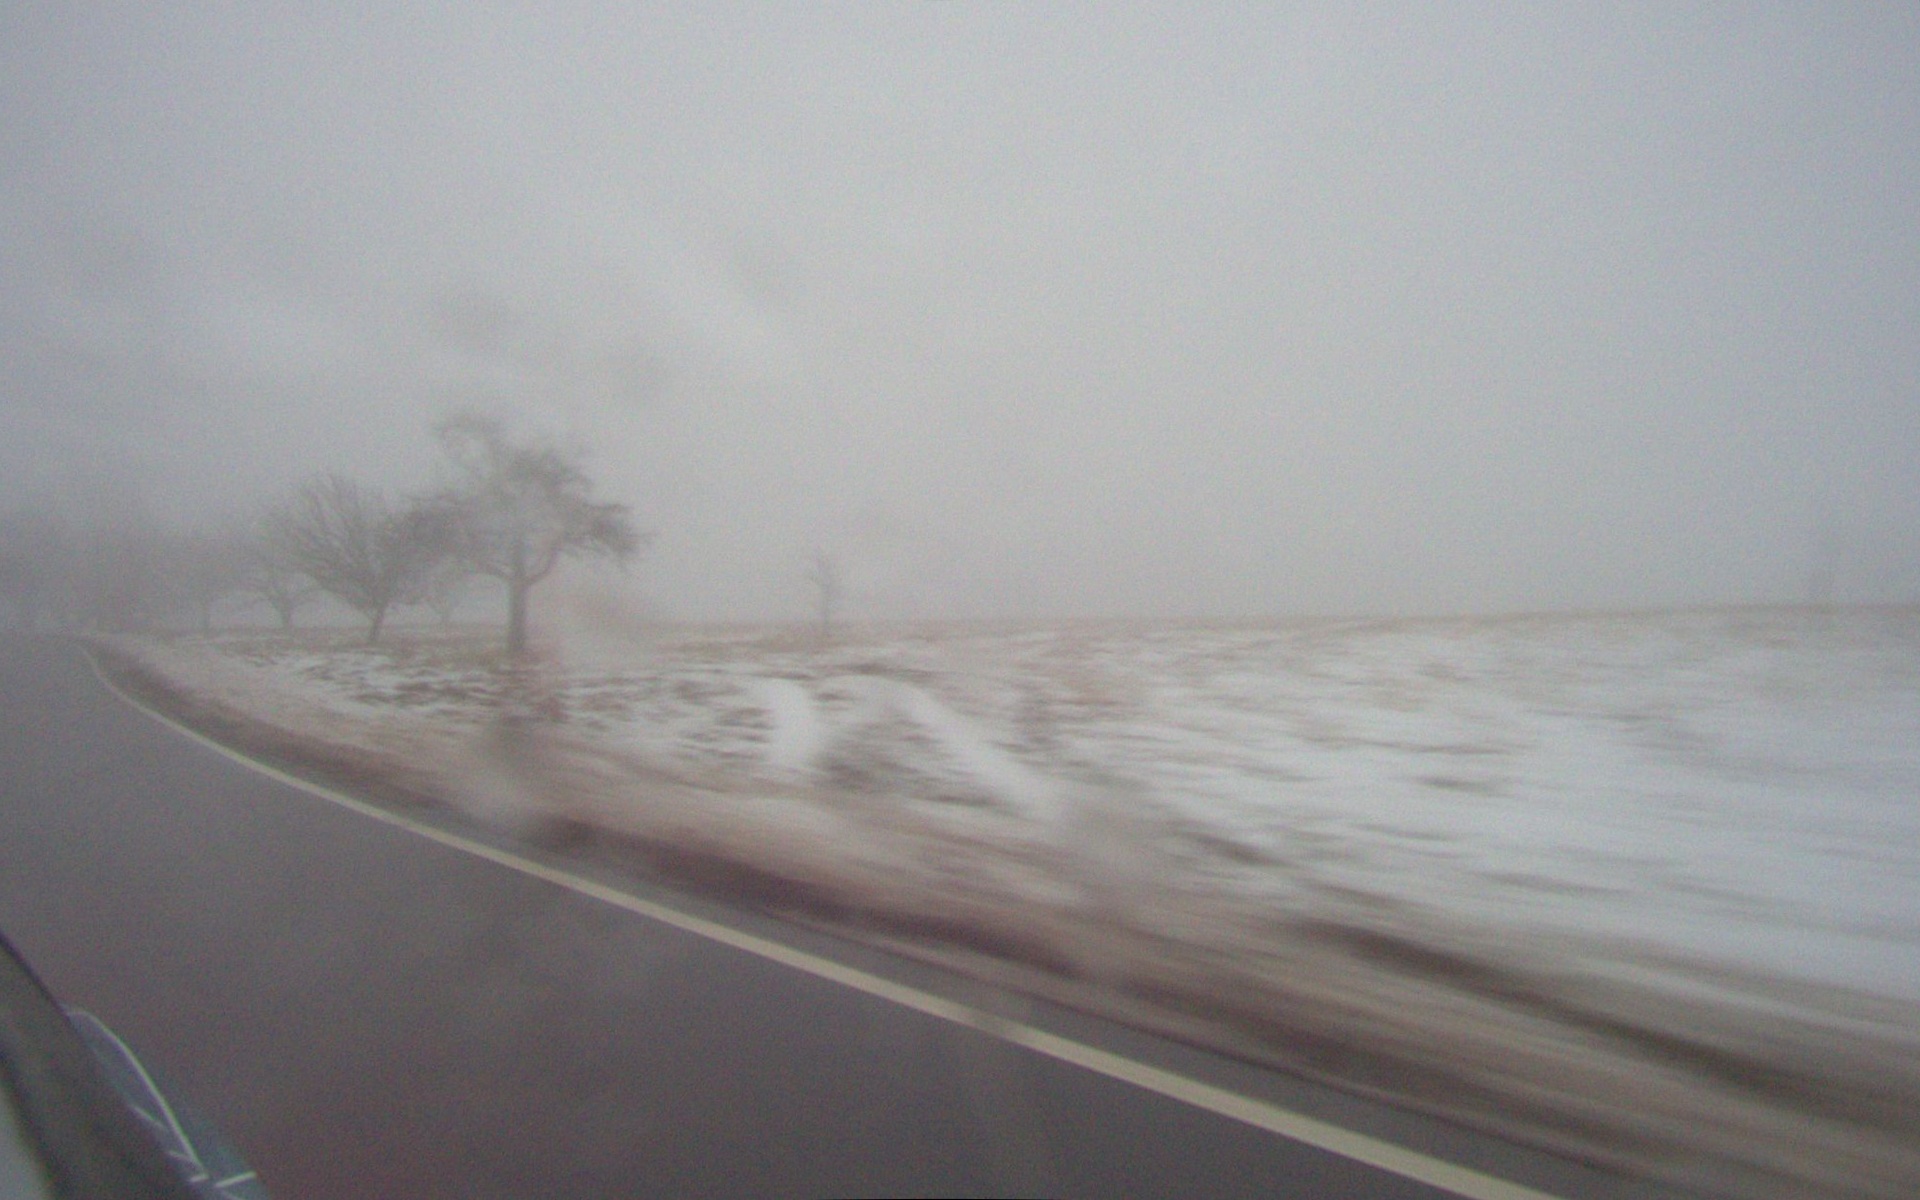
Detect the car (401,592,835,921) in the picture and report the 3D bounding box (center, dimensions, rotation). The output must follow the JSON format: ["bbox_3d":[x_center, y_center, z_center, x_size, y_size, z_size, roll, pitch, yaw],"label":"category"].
[{"bbox_3d":[-2.285,0.725,6.361,1.504,1.519,3.057,-1,1,-42],"label":"car"}]
